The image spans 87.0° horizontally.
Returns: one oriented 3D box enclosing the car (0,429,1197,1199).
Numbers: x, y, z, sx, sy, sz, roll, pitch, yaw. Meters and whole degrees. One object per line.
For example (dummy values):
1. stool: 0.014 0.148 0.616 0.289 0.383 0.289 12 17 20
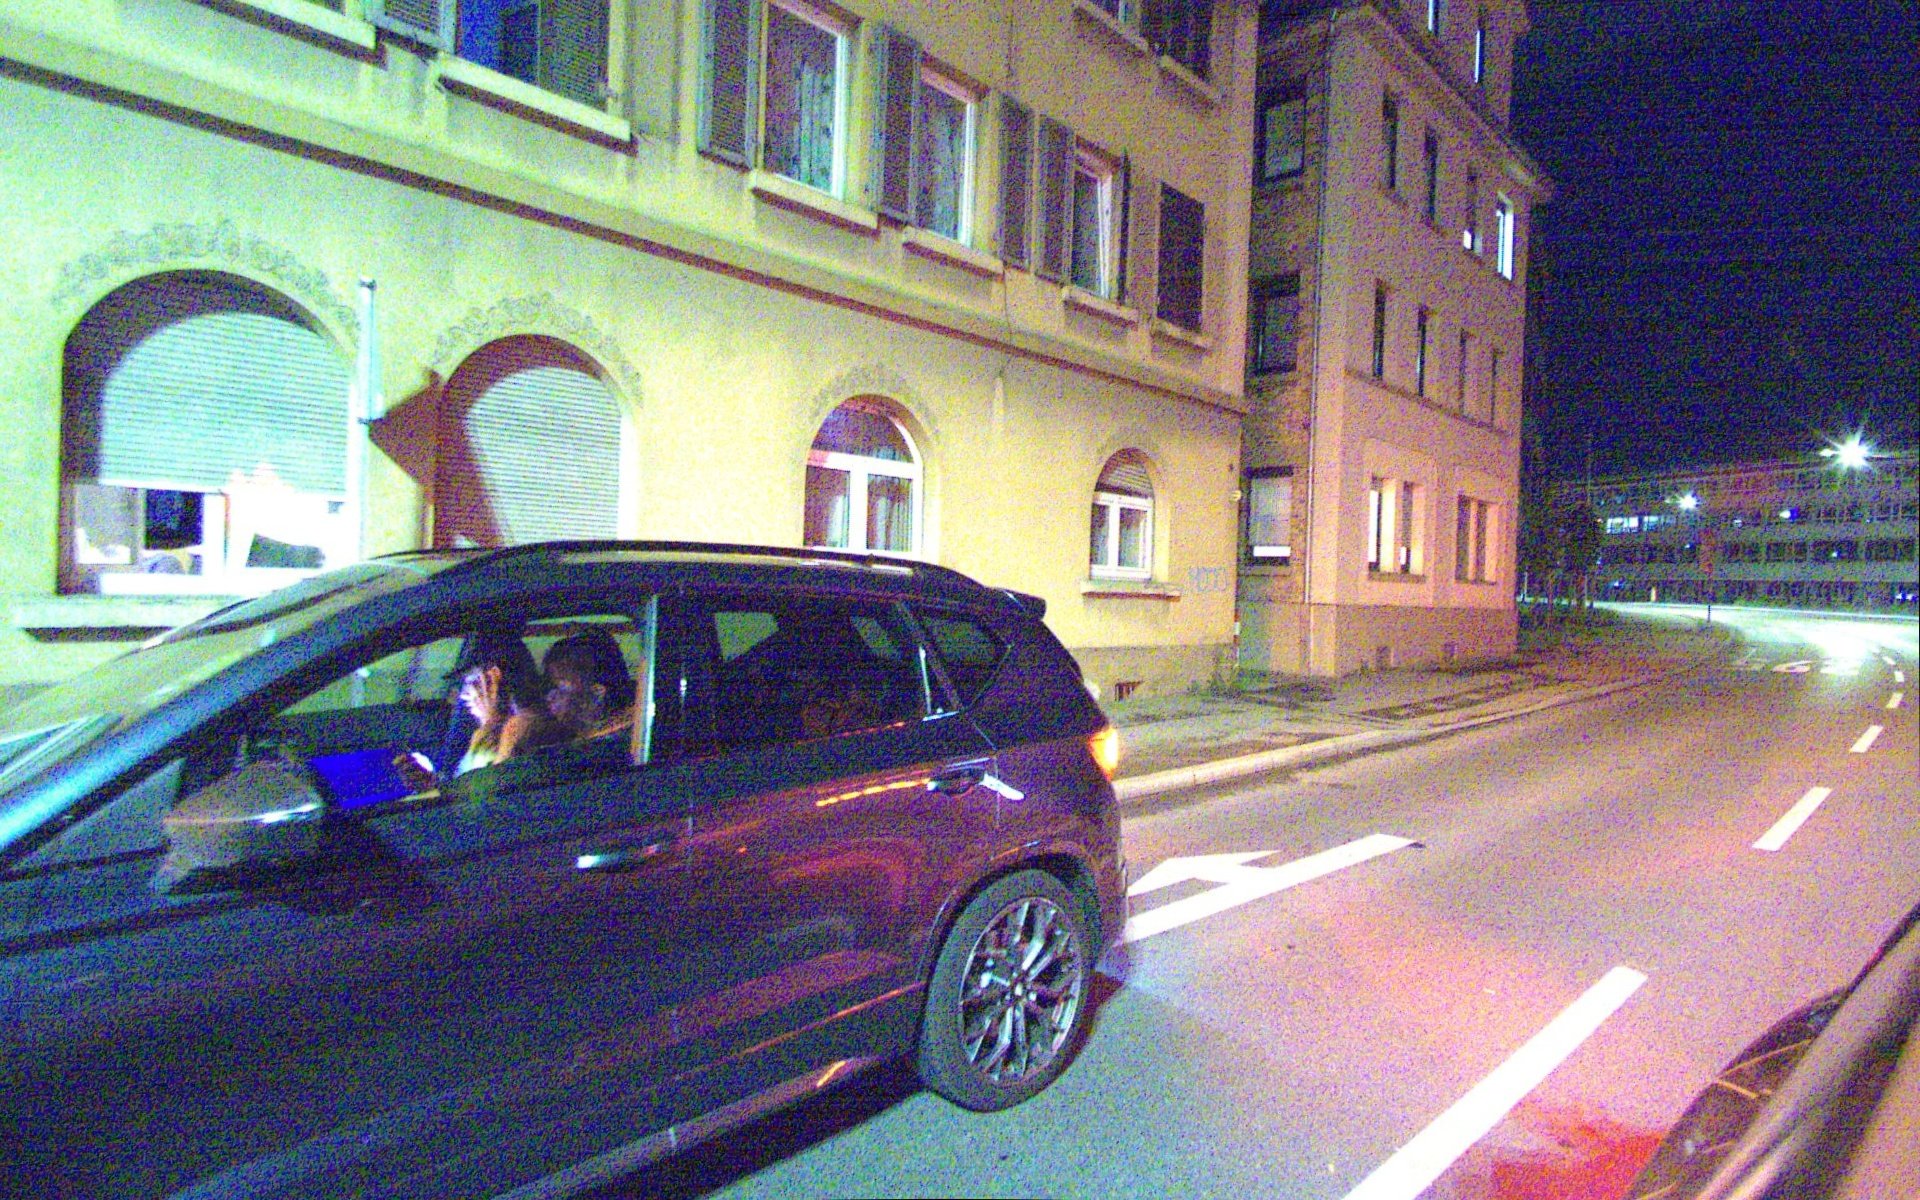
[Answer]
1. car: -1.256 0.546 2.634 4.159 1.630 1.672 -2 2 -44
